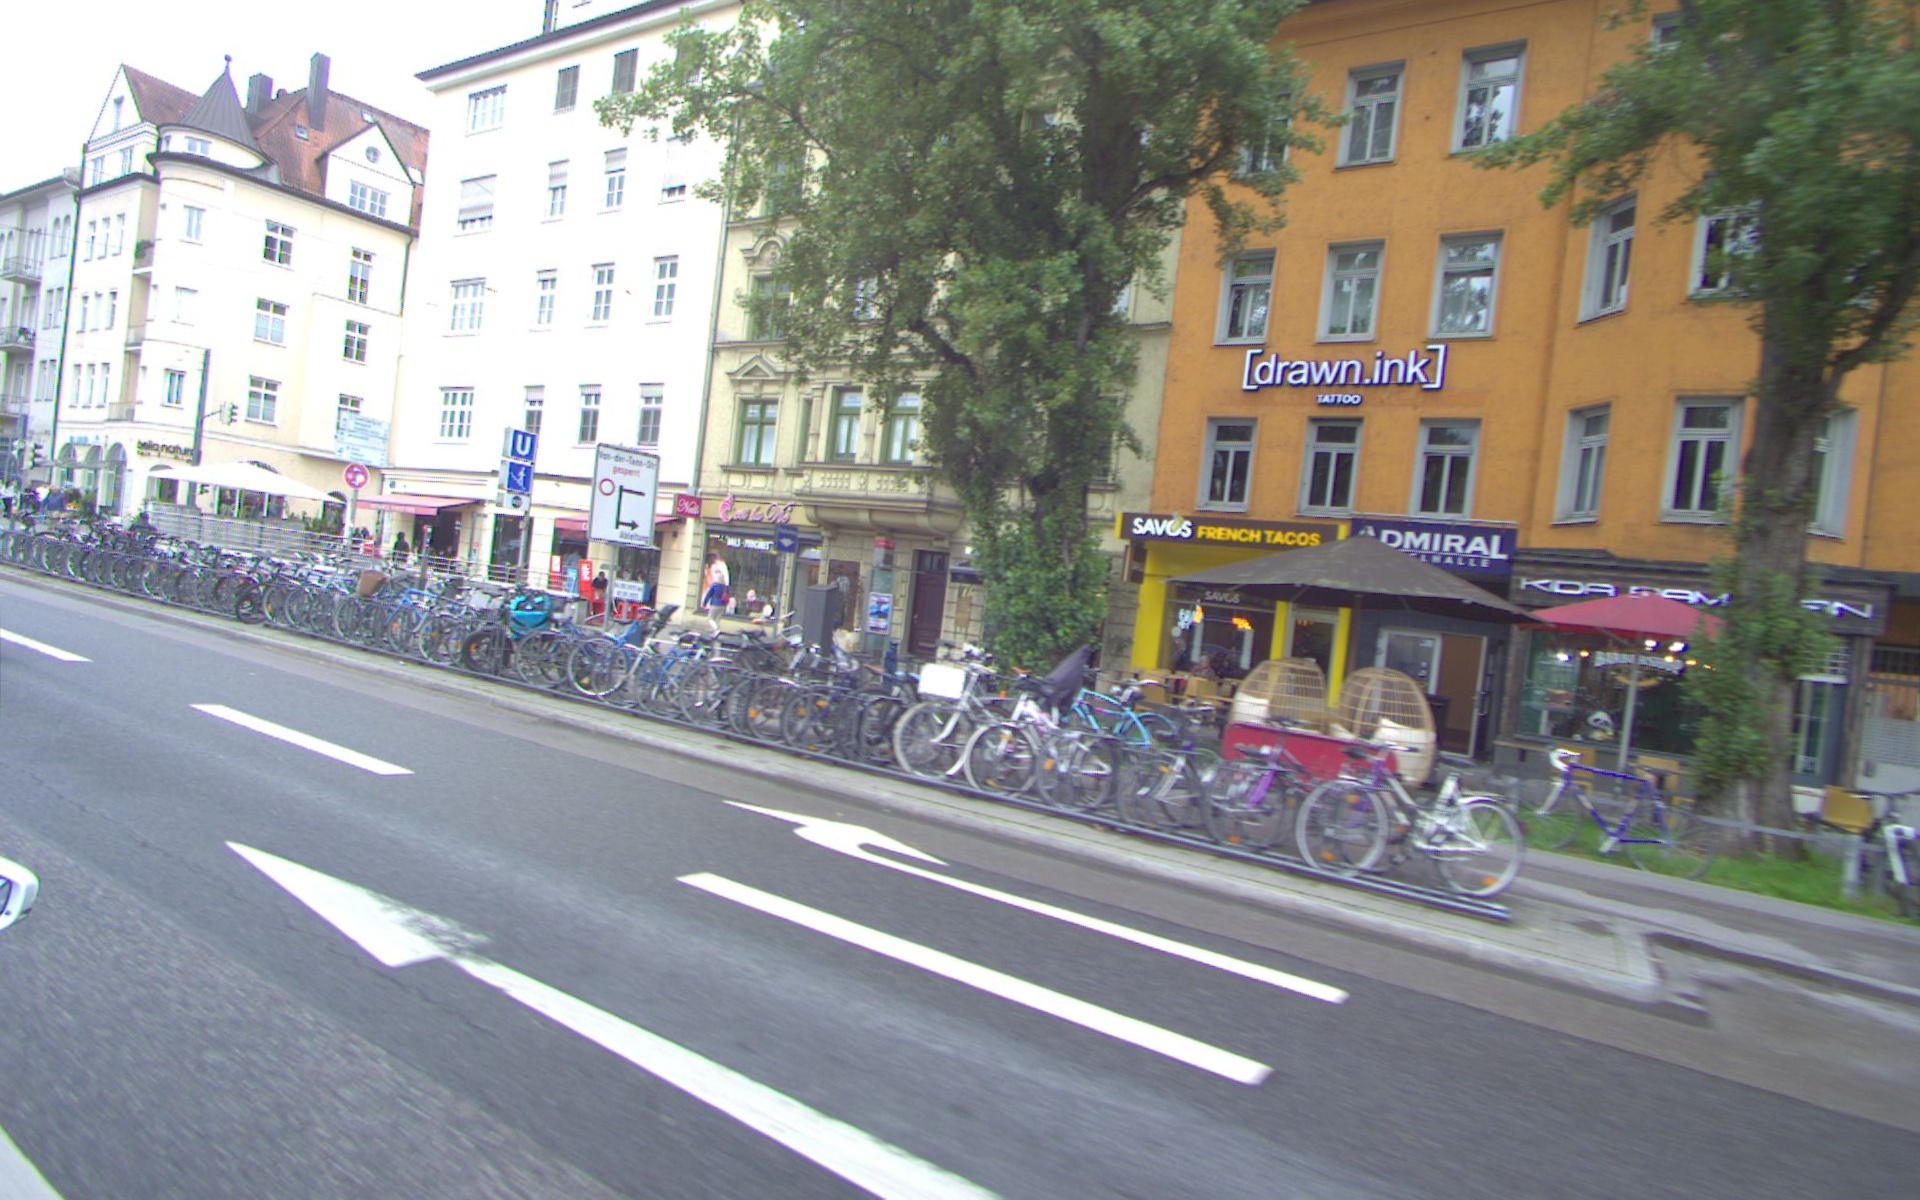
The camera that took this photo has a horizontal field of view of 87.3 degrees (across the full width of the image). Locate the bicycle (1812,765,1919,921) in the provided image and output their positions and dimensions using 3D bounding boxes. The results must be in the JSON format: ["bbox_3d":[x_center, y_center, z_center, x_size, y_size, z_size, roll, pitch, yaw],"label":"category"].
[{"bbox_3d":[8.109,2.100,8.965,0.451,1.067,1.889,7,0,33],"label":"bicycle"}]

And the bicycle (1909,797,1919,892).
[{"bbox_3d":[9.109,2.165,8.923,0.573,1.188,1.889,7,0,33],"label":"bicycle"}]

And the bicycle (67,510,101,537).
[{"bbox_3d":[-42.533,-3.716,48.845,1.833,1.103,0.495,7,1,26],"label":"bicycle"}]

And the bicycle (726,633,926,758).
[{"bbox_3d":[-1.318,0.959,9.986,1.817,1.008,0.373,9,1,-21],"label":"bicycle"}]

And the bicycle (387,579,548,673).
[{"bbox_3d":[-6.574,0.357,13.517,1.818,1.008,0.323,9,1,-22],"label":"bicycle"}]

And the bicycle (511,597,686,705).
[{"bbox_3d":[-4.228,0.605,11.855,1.814,1.008,0.324,9,1,-16],"label":"bicycle"}]

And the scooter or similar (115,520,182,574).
[{"bbox_3d":[-19.167,-1.249,23.765,1.235,1.088,0.776,7,1,30],"label":"scooter or similar"}]

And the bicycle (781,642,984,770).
[{"bbox_3d":[-0.739,1.034,9.757,1.817,1.008,0.373,9,1,-21],"label":"bicycle"}]

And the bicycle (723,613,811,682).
[{"bbox_3d":[-3.214,0.818,16.903,0.380,1.058,1.727,9,0,26],"label":"bicycle"}]

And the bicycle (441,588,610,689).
[{"bbox_3d":[-5.436,0.493,12.658,1.814,1.008,0.324,9,1,-16],"label":"bicycle"}]

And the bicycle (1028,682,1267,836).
[{"bbox_3d":[1.534,1.306,8.239,1.813,1.008,0.374,9,1,-14],"label":"bicycle"}]

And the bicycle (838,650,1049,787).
[{"bbox_3d":[-0.150,1.104,9.337,1.814,1.008,0.374,9,1,-14],"label":"bicycle"}]

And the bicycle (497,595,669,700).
[{"bbox_3d":[-4.539,0.572,12.190,1.812,1.008,0.324,9,1,-11],"label":"bicycle"}]

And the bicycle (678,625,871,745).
[{"bbox_3d":[-1.907,0.891,10.425,1.817,1.008,0.373,9,1,-21],"label":"bicycle"}]

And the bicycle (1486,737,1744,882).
[{"bbox_3d":[5.965,1.884,9.278,1.862,0.903,0.457,7,1,31],"label":"bicycle"}]

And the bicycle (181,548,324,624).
[{"bbox_3d":[-11.361,-0.216,16.194,1.812,1.008,0.347,6,1,-14],"label":"bicycle"}]

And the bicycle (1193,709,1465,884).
[{"bbox_3d":[2.716,1.447,7.436,1.811,1.008,0.375,9,1,-8],"label":"bicycle"}]

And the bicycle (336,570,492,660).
[{"bbox_3d":[-7.699,0.222,14.250,1.818,1.008,0.323,9,1,-22],"label":"bicycle"}]

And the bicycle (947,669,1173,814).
[{"bbox_3d":[0.872,1.224,8.682,1.815,1.008,0.374,9,1,-17],"label":"bicycle"}]

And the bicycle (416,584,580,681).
[{"bbox_3d":[-5.996,0.426,13.129,1.814,1.008,0.324,9,1,-16],"label":"bicycle"}]

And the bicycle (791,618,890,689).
[{"bbox_3d":[-2.022,0.936,17.235,0.382,1.058,1.720,9,0,42],"label":"bicycle"}]

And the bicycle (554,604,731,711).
[{"bbox_3d":[-3.639,0.680,11.598,1.820,1.008,0.323,9,1,-26],"label":"bicycle"}]

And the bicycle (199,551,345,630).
[{"bbox_3d":[-10.743,-0.144,15.752,1.813,1.008,0.324,7,1,-14],"label":"bicycle"}]

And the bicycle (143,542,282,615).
[{"bbox_3d":[-12.504,-0.357,16.864,1.813,1.008,0.347,6,1,-15],"label":"bicycle"}]

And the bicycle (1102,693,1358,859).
[{"bbox_3d":[2.096,1.373,7.855,1.811,1.008,0.375,9,1,-8],"label":"bicycle"}]

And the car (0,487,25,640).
[{"bbox_3d":[-10.482,-0.469,9.304,3.498,1.607,1.707,7,-3,32],"label":"car"}]

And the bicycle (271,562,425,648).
[{"bbox_3d":[-8.981,0.076,14.825,1.816,1.008,0.324,9,1,-18],"label":"bicycle"}]

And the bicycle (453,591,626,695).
[{"bbox_3d":[-5.127,0.526,12.333,1.812,1.008,0.324,9,1,-12],"label":"bicycle"}]

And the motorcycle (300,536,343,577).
[{"bbox_3d":[-20.497,-1.399,32.294,1.545,1.171,0.487,7,1,33],"label":"motorcycle"}]

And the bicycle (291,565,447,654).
[{"bbox_3d":[-8.441,0.139,14.408,1.813,1.008,0.324,9,1,-14],"label":"bicycle"}]

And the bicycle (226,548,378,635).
[{"bbox_3d":[-10.089,-0.121,15.493,1.819,1.127,0.464,7,1,-26],"label":"bicycle"}]

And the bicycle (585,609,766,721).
[{"bbox_3d":[-3.163,0.735,11.235,1.817,1.008,0.323,9,1,-21],"label":"bicycle"}]

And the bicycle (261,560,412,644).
[{"bbox_3d":[-9.399,0.031,15.224,1.816,1.008,0.324,9,1,-18],"label":"bicycle"}]

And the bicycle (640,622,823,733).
[{"bbox_3d":[-2.446,0.859,10.921,1.825,1.008,0.372,9,0,-34],"label":"bicycle"}]

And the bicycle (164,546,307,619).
[{"bbox_3d":[-11.899,-0.280,16.563,1.815,1.008,0.346,6,1,-19],"label":"bicycle"}]

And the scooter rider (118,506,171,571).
[{"bbox_3d":[-19.290,-1.446,23.799,0.632,1.406,0.701,7,1,30],"label":"scooter rider"}]

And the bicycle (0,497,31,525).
[{"bbox_3d":[-43.603,-4.110,46.155,1.831,1.072,0.496,7,1,17],"label":"bicycle"}]

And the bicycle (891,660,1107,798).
[{"bbox_3d":[0.363,1.165,9.007,1.817,1.008,0.373,9,1,-20],"label":"bicycle"}]

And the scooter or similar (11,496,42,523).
[{"bbox_3d":[-40.687,-3.940,43.850,0.815,1.007,0.587,7,3,-36],"label":"scooter or similar"}]

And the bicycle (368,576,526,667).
[{"bbox_3d":[-7.040,0.304,13.886,1.818,1.008,0.323,9,1,-22],"label":"bicycle"}]

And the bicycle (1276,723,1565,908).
[{"bbox_3d":[3.222,1.506,7.060,1.811,1.008,0.375,9,1,-8],"label":"bicycle"}]
